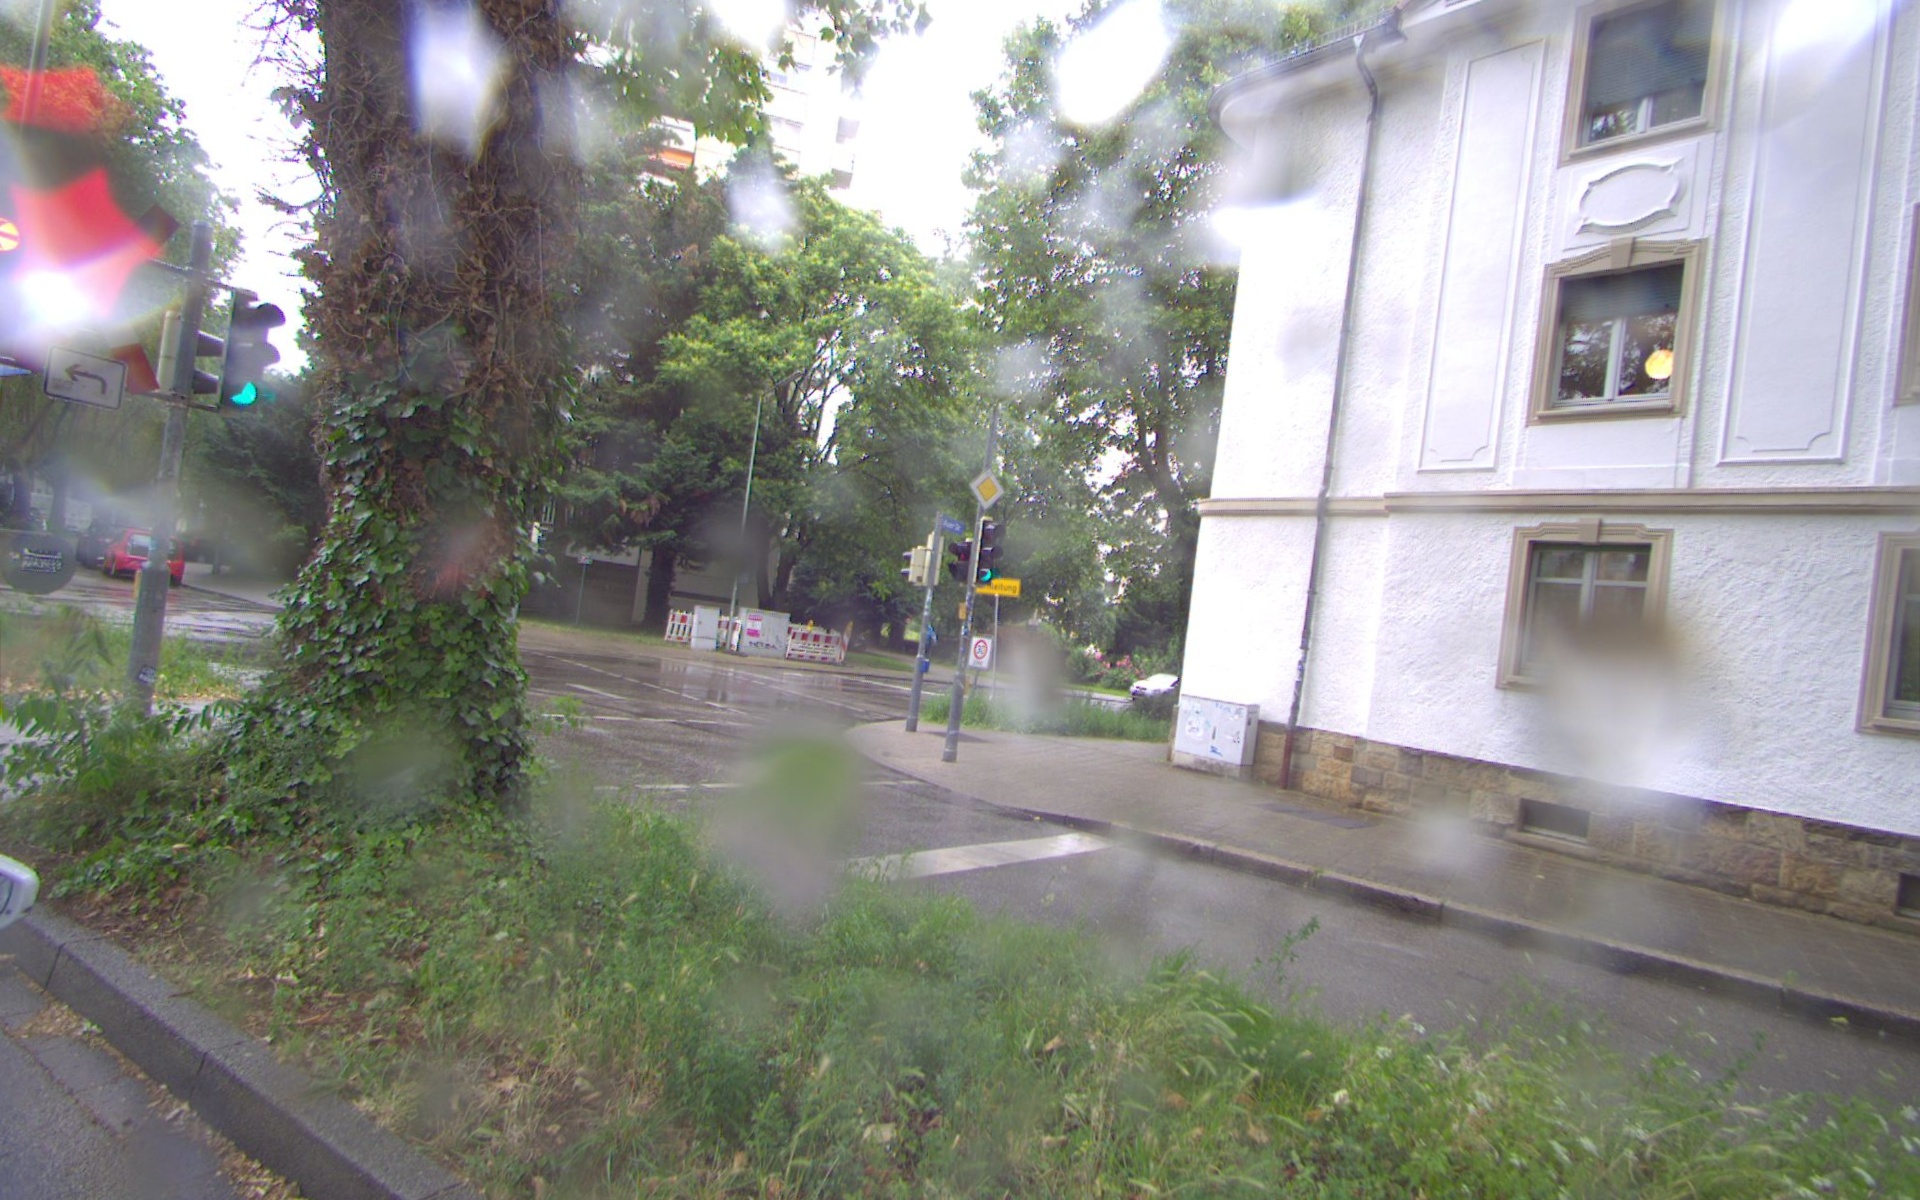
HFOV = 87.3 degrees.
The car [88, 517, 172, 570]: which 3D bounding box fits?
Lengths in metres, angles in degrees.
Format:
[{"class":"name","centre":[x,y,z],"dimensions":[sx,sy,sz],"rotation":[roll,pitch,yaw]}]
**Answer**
[{"class":"car","centre":[-28.097,-1.937,34.005],"dimensions":[1.780,1.363,3.879],"rotation":[10,-2,-44]}]

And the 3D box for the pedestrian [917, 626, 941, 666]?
[{"class":"pedestrian","centre":[-1.517,2.233,49.025],"dimensions":[0.675,1.863,0.707],"rotation":[8,-1,-44]}]

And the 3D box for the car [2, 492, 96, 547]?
[{"class":"car","centre":[-61.110,-5.393,67.537],"dimensions":[4.680,2.982,2.043],"rotation":[7,-1,12]}]

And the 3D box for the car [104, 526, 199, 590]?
[{"class":"car","centre":[-24.830,-1.309,30.848],"dimensions":[1.788,1.515,3.950],"rotation":[10,-2,-44]}]

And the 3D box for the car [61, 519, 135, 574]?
[{"class":"car","centre":[-32.982,-2.078,38.459],"dimensions":[1.779,1.747,3.951],"rotation":[9,-2,-44]}]

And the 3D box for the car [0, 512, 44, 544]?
[{"class":"car","centre":[-56.204,-4.379,58.633],"dimensions":[1.974,1.565,3.980],"rotation":[6,-3,44]}]

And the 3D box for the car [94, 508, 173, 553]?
[{"class":"car","centre":[-69.648,-5.843,84.818],"dimensions":[4.683,2.982,2.001],"rotation":[7,-1,1]}]

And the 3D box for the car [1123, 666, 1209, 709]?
[{"class":"car","centre":[9.411,4.005,45.811],"dimensions":[1.829,1.473,3.979],"rotation":[6,-3,45]}]
